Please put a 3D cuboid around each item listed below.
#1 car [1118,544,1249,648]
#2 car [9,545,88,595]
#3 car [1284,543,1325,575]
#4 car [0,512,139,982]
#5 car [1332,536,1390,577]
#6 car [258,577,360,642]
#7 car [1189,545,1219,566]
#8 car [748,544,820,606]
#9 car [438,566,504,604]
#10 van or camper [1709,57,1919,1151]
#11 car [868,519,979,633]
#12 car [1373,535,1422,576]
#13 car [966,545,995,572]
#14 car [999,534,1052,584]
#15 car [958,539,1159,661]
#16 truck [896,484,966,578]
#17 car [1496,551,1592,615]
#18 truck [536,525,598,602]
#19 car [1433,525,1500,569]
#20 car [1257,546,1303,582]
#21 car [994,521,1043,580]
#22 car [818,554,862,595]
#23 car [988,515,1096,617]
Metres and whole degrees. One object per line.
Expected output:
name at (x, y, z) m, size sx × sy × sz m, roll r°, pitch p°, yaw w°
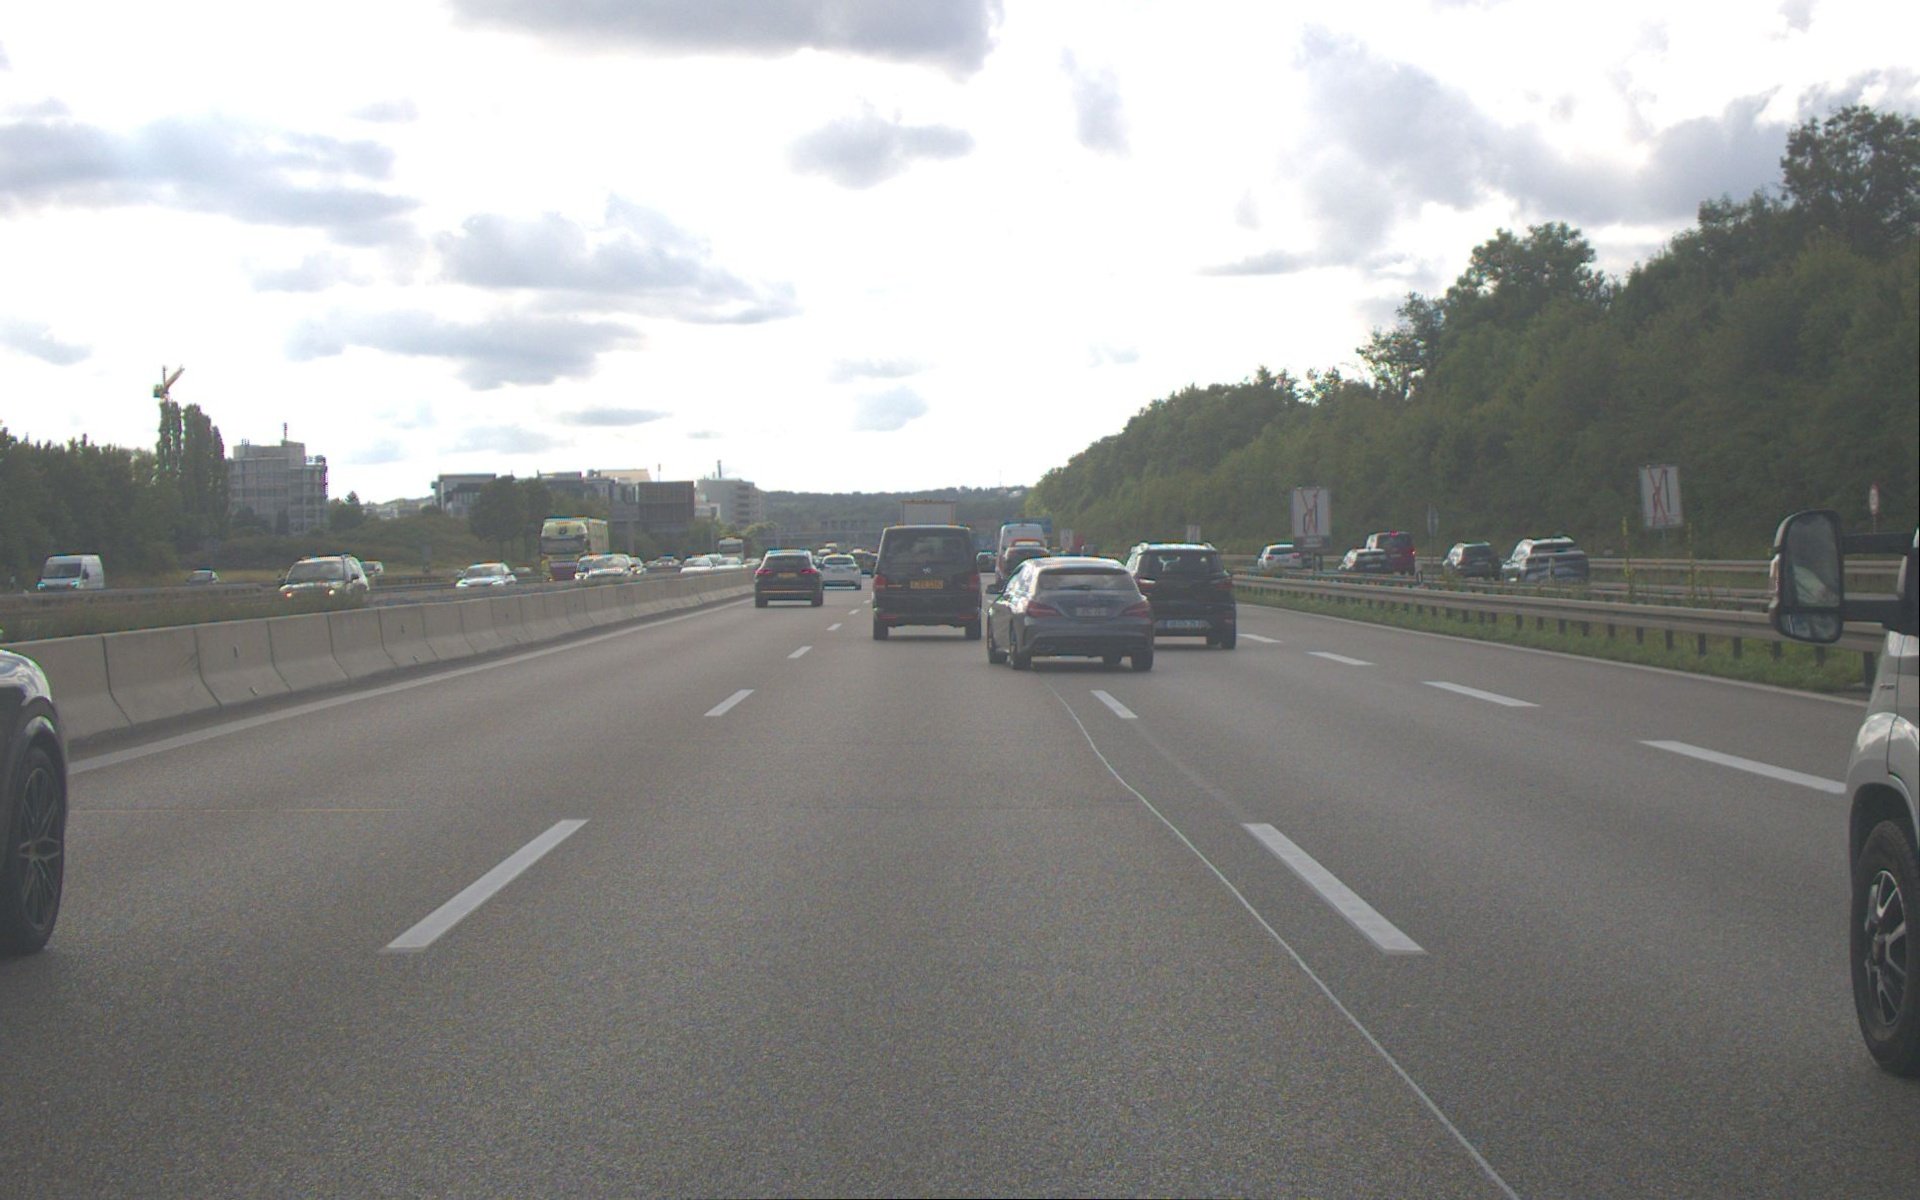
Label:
car at (3.477, -0.096, 54.064) m, size 1.697 × 1.559 × 4.114 m, roll -1°, pitch 1°, yaw -1°
car at (-42.675, -1.413, 161.106) m, size 1.993 × 2.227 × 5.890 m, roll -1°, pitch 1°, yaw 1°
car at (18.819, -2.253, 187.692) m, size 1.752 × 1.689 × 4.190 m, roll 0°, pitch 1°, yaw -1°
car at (-4.284, 0.526, 11.295) m, size 1.912 × 1.630 × 5.500 m, roll 0°, pitch 1°, yaw -1°
car at (15.381, -1.687, 132.007) m, size 1.595 × 1.540 × 4.191 m, roll 0°, pitch 1°, yaw -2°
car at (-16.738, 0.215, 88.629) m, size 1.774 × 1.555 × 4.782 m, roll -1°, pitch 1°, yaw -1°
car at (18.121, -3.332, 255.509) m, size 1.752 × 1.512 × 4.191 m, roll 0°, pitch 1°, yaw -2°
car at (-4.945, -0.704, 97.012) m, size 1.873 × 1.692 × 4.072 m, roll -1°, pitch 1°, yaw -1°
car at (-17.672, -0.553, 124.366) m, size 1.771 × 1.290 × 4.676 m, roll 0°, pitch 1°, yaw -1°
van or camper at (3.636, 0.040, 6.933) m, size 2.468 × 2.712 × 7.662 m, roll 0°, pitch 1°, yaw -1°
car at (-0.644, -0.438, 59.934) m, size 1.855 × 1.904 × 4.260 m, roll 0°, pitch 1°, yaw -1°
car at (19.662, -2.015, 154.619) m, size 1.595 × 1.798 × 3.825 m, roll 0°, pitch 1°, yaw -2°
car at (1.288, -2.658, 219.471) m, size 1.752 × 1.689 × 4.190 m, roll 0°, pitch 1°, yaw -1°
car at (2.539, -1.627, 134.235) m, size 1.913 × 1.912 × 4.030 m, roll 0°, pitch 1°, yaw -1°
car at (1.206, -0.033, 44.226) m, size 1.720 × 1.474 × 4.392 m, roll -1°, pitch 1°, yaw -10°
truck at (-1.406, -3.322, 165.607) m, size 3.263 × 4.360 × 11.027 m, roll 0°, pitch 1°, yaw -1°
car at (16.282, -0.507, 96.019) m, size 1.846 × 1.644 × 4.306 m, roll -3°, pitch 1°, yaw 0°
truck at (-22.453, -2.109, 196.723) m, size 2.896 × 4.308 × 5.162 m, roll -1°, pitch 1°, yaw 0°
car at (19.316, -2.032, 131.313) m, size 1.728 × 1.540 × 4.306 m, roll -3°, pitch 1°, yaw -2°
car at (15.305, -1.721, 164.666) m, size 1.752 × 1.689 × 4.190 m, roll 0°, pitch 1°, yaw -1°
car at (2.385, -2.045, 141.125) m, size 1.873 × 2.349 × 4.282 m, roll 0°, pitch 1°, yaw -1°
car at (-4.808, -1.023, 138.462) m, size 1.697 × 1.605 × 4.114 m, roll -1°, pitch 1°, yaw -1°
car at (1.403, -0.608, 60.135) m, size 1.720 × 1.718 × 4.392 m, roll 0°, pitch 1°, yaw -1°
